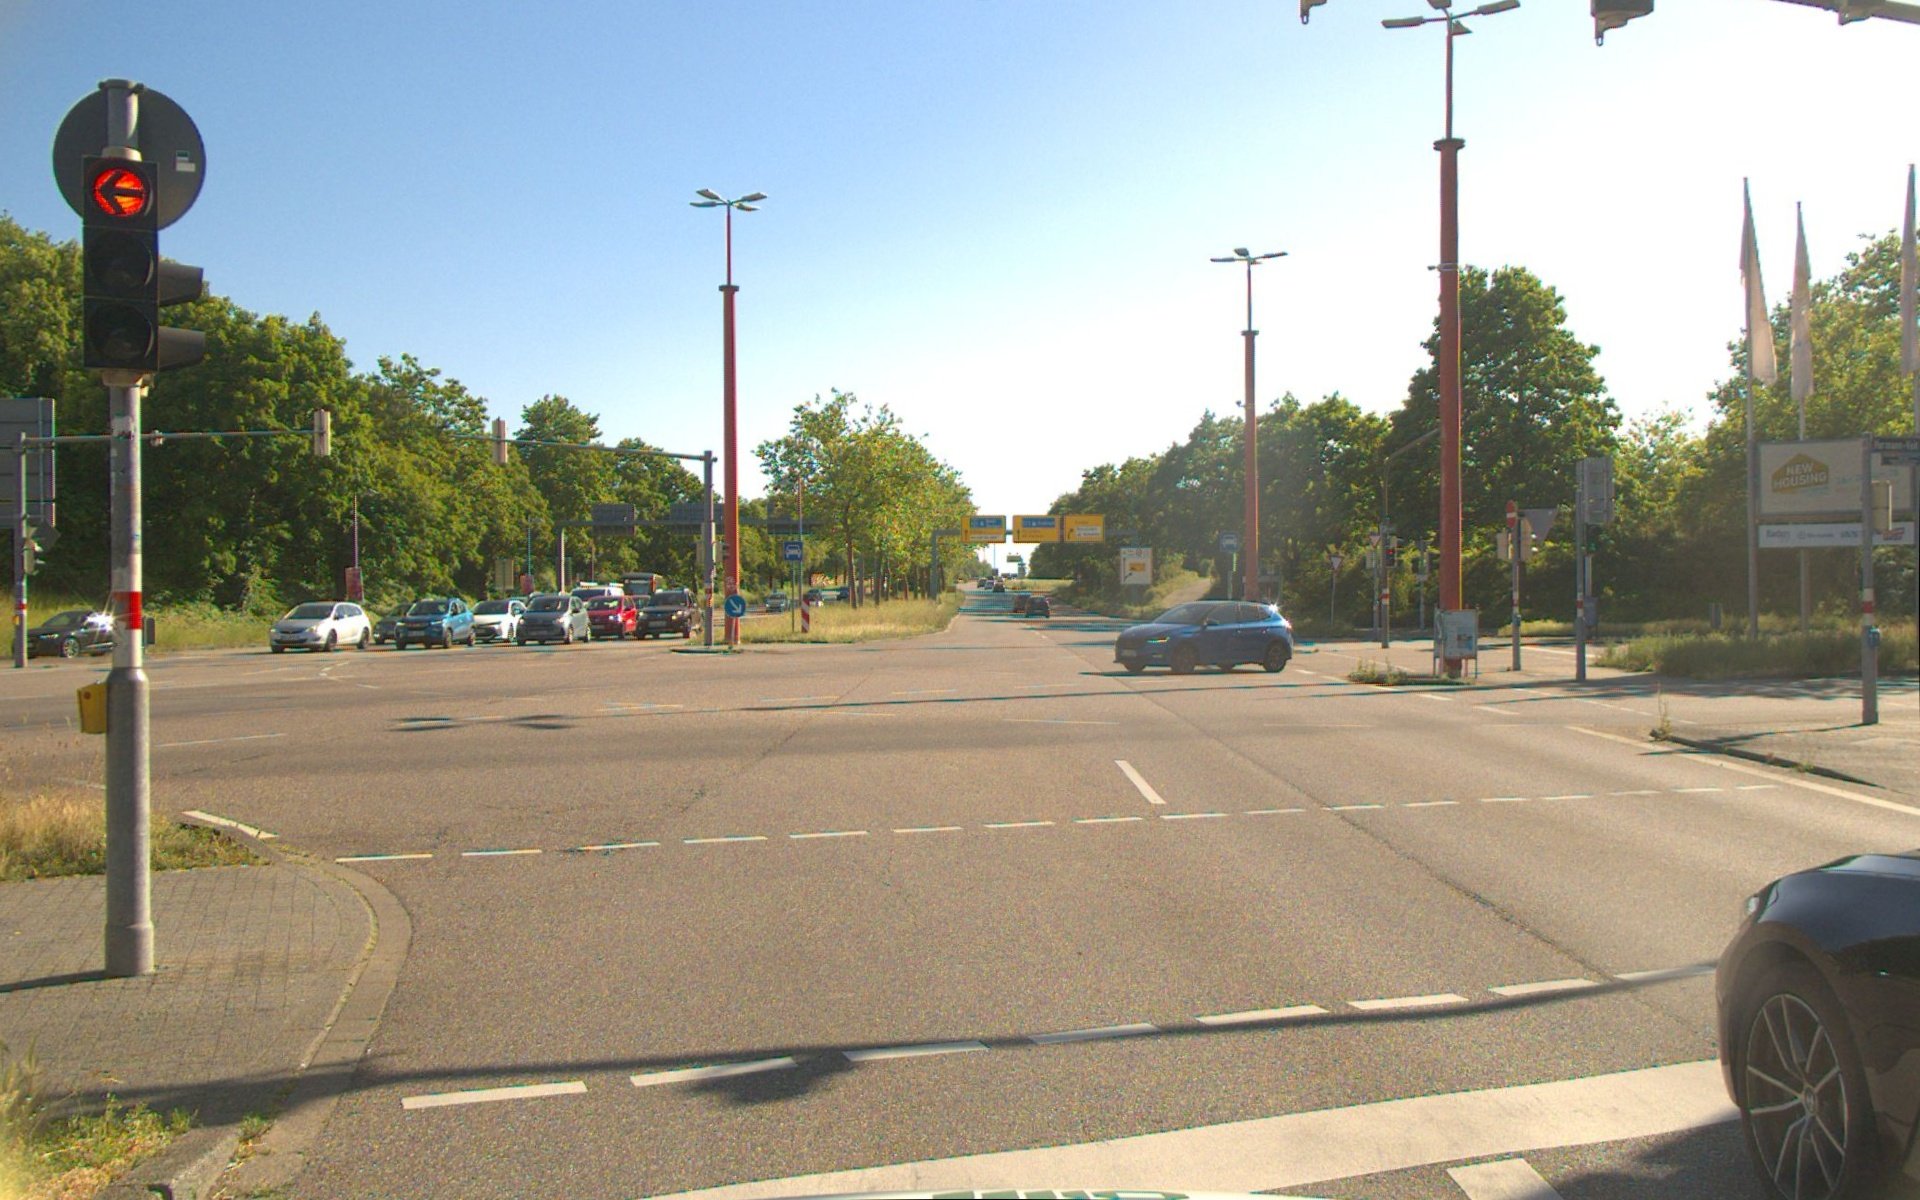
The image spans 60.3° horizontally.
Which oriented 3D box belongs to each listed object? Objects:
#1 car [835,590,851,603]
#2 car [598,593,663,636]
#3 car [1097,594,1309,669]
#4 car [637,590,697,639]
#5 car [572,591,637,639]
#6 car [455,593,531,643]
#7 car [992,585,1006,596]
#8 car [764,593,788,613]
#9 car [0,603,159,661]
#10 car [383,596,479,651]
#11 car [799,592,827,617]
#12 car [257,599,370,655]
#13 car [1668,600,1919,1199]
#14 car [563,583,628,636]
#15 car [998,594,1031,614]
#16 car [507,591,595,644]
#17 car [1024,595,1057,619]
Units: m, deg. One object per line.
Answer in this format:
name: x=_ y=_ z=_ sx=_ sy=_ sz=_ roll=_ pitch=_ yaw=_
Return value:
car: x=-14.254 y=-0.425 z=201.822 sx=1.840 sy=1.601 sz=4.116 roll=0 pitch=0 yaw=-5
car: x=-12.711 y=0.529 z=64.045 sx=1.954 sy=1.601 sz=4.117 roll=0 pitch=0 yaw=-4
car: x=5.058 y=0.613 z=34.306 sx=4.229 sy=1.453 sz=1.862 roll=-1 pitch=0 yaw=-34
car: x=-9.874 y=0.472 z=55.989 sx=1.841 sy=1.601 sz=4.113 roll=0 pitch=0 yaw=-8
car: x=-12.479 y=0.508 z=58.270 sx=1.956 sy=1.601 sz=4.113 roll=0 pitch=0 yaw=-8
car: x=-15.990 y=0.598 z=56.783 sx=1.956 sy=1.601 sz=4.113 roll=-1 pitch=0 yaw=-8
car: x=5.804 y=-1.425 z=246.770 sx=2.114 sy=1.601 sz=4.281 roll=0 pitch=0 yaw=1
car: x=-15.156 y=0.244 z=136.481 sx=1.840 sy=1.601 sz=4.116 roll=0 pitch=0 yaw=-5
car: x=-26.203 y=0.913 z=49.401 sx=1.951 sy=1.626 sz=4.225 roll=0 pitch=0 yaw=11
car: x=-16.208 y=0.683 z=50.889 sx=1.955 sy=1.601 sz=4.116 roll=0 pitch=0 yaw=-5
car: x=-9.867 y=0.278 z=110.911 sx=1.840 sy=1.601 sz=4.116 roll=0 pitch=0 yaw=-5
car: x=-19.586 y=0.786 z=50.296 sx=1.954 sy=1.601 sz=4.118 roll=0 pitch=0 yaw=-3
car: x=2.972 y=0.712 z=2.359 sx=1.953 sy=1.419 sz=4.476 roll=0 pitch=0 yaw=-1
car: x=-15.671 y=0.387 z=71.263 sx=2.021 sy=2.231 sz=4.376 roll=0 pitch=0 yaw=-3
car: x=4.306 y=0.305 z=132.078 sx=2.117 sy=1.601 sz=4.578 roll=0 pitch=0 yaw=-5
car: x=-12.805 y=0.522 z=51.963 sx=1.954 sy=1.601 sz=4.118 roll=0 pitch=0 yaw=-4
car: x=5.402 y=0.462 z=111.273 sx=2.114 sy=1.601 sz=4.282 roll=0 pitch=0 yaw=2
